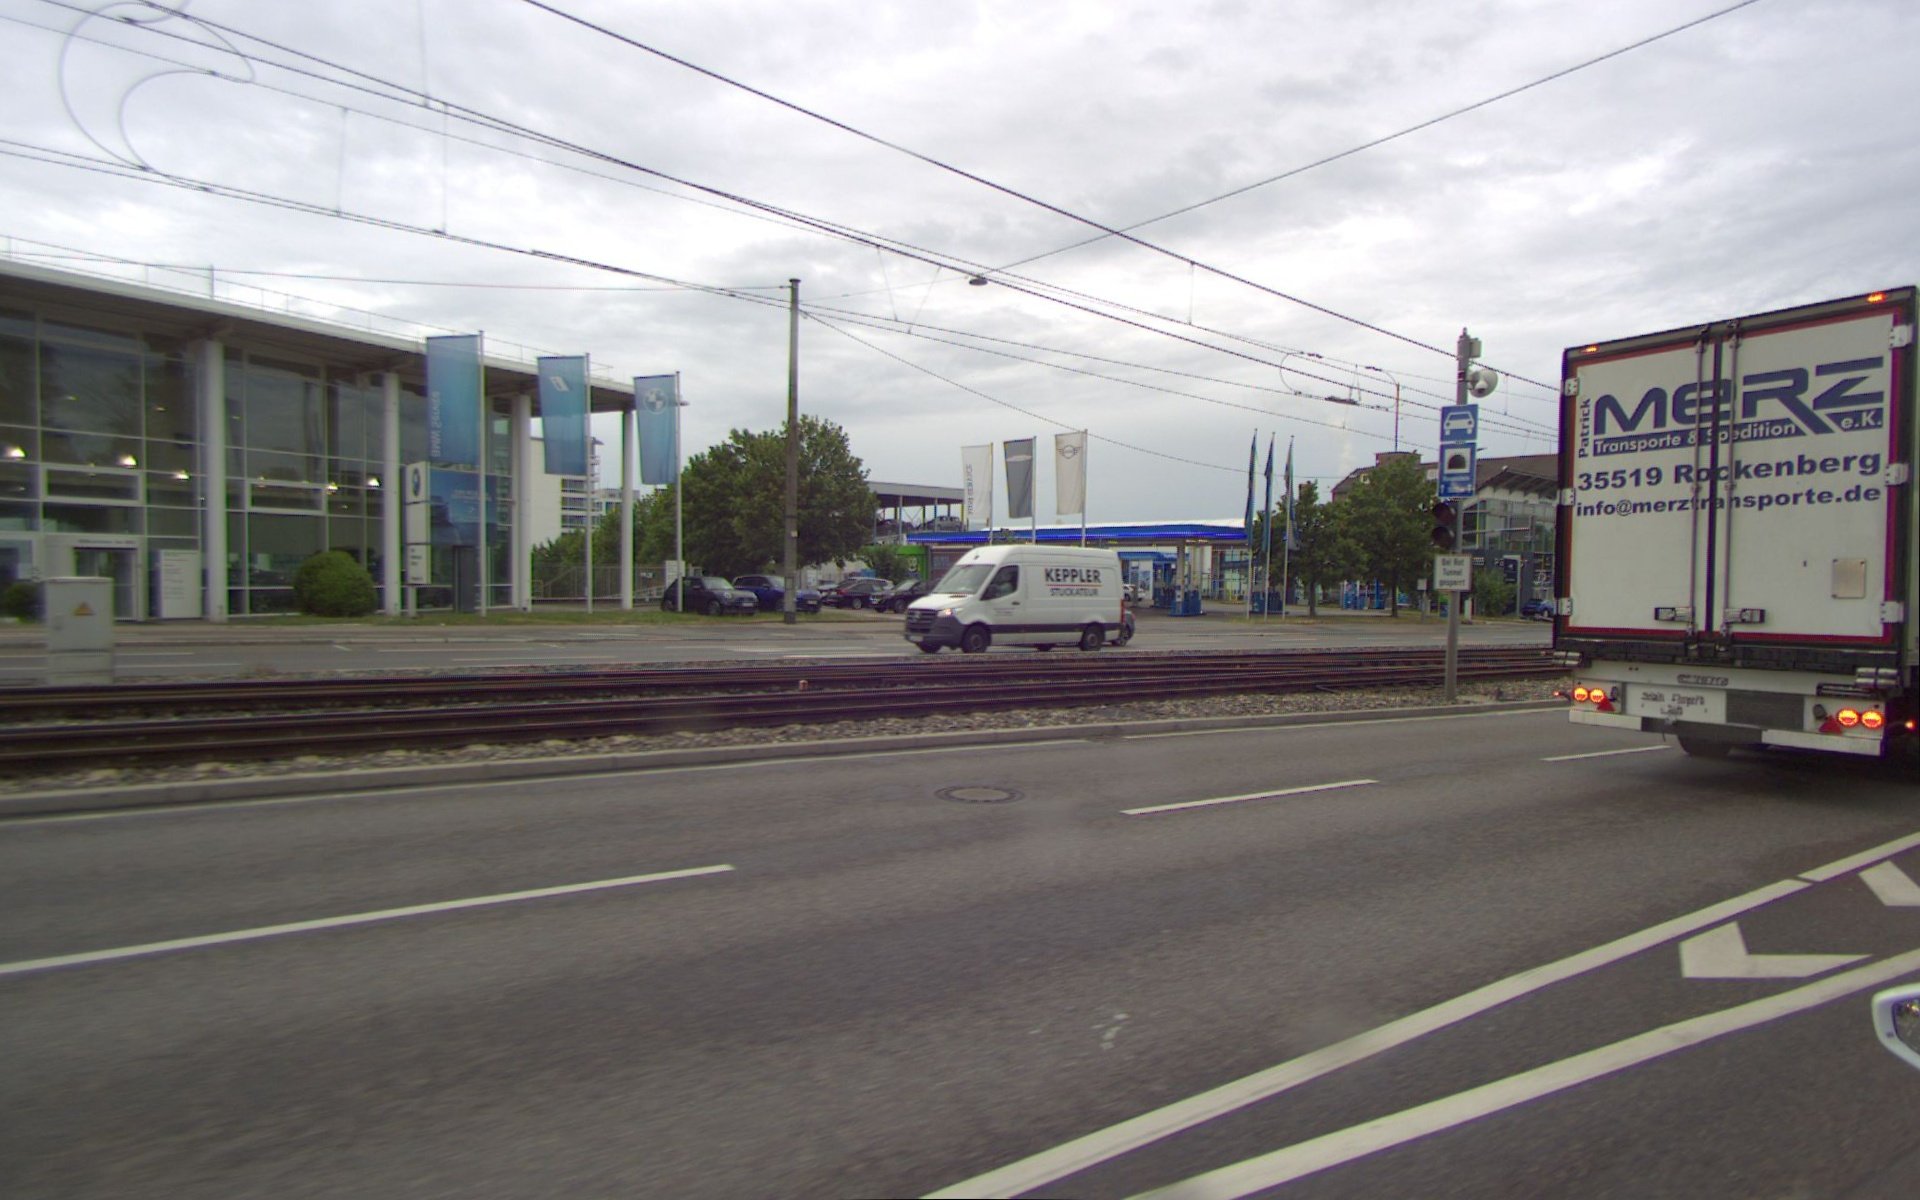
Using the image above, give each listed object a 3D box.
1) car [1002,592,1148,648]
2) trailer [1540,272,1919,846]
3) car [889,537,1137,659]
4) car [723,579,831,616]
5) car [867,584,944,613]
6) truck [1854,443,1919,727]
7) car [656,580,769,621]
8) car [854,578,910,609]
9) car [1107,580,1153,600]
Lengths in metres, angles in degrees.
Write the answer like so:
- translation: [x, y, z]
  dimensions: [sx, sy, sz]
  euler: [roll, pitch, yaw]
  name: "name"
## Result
- translation: [3.464, 0.594, 29.848]
  dimensions: [4.300, 1.536, 1.728]
  euler: [1, 1, -37]
  name: "car"
- translation: [11.760, -0.222, 12.423]
  dimensions: [13.051, 4.309, 2.744]
  euler: [1, 0, -35]
  name: "trailer"
- translation: [1.419, -0.022, 24.290]
  dimensions: [6.109, 2.633, 2.035]
  euler: [1, 1, -38]
  name: "car"
- translation: [-6.983, -0.107, 38.225]
  dimensions: [3.931, 1.251, 1.756]
  euler: [2, 0, 33]
  name: "car"
- translation: [-2.608, -0.071, 48.180]
  dimensions: [3.403, 1.260, 1.572]
  euler: [1, 1, -40]
  name: "car"
- translation: [17.285, -0.183, 16.363]
  dimensions: [6.244, 4.261, 2.738]
  euler: [1, 0, -35]
  name: "truck"
- translation: [-8.836, -0.031, 35.726]
  dimensions: [3.931, 1.252, 1.698]
  euler: [3, 4, 33]
  name: "car"
- translation: [-4.292, -0.366, 55.632]
  dimensions: [2.777, 1.594, 1.371]
  euler: [1, 2, -39]
  name: "car"
- translation: [15.438, -0.901, 91.218]
  dimensions: [1.838, 1.662, 3.961]
  euler: [1, 1, -34]
  name: "car"
